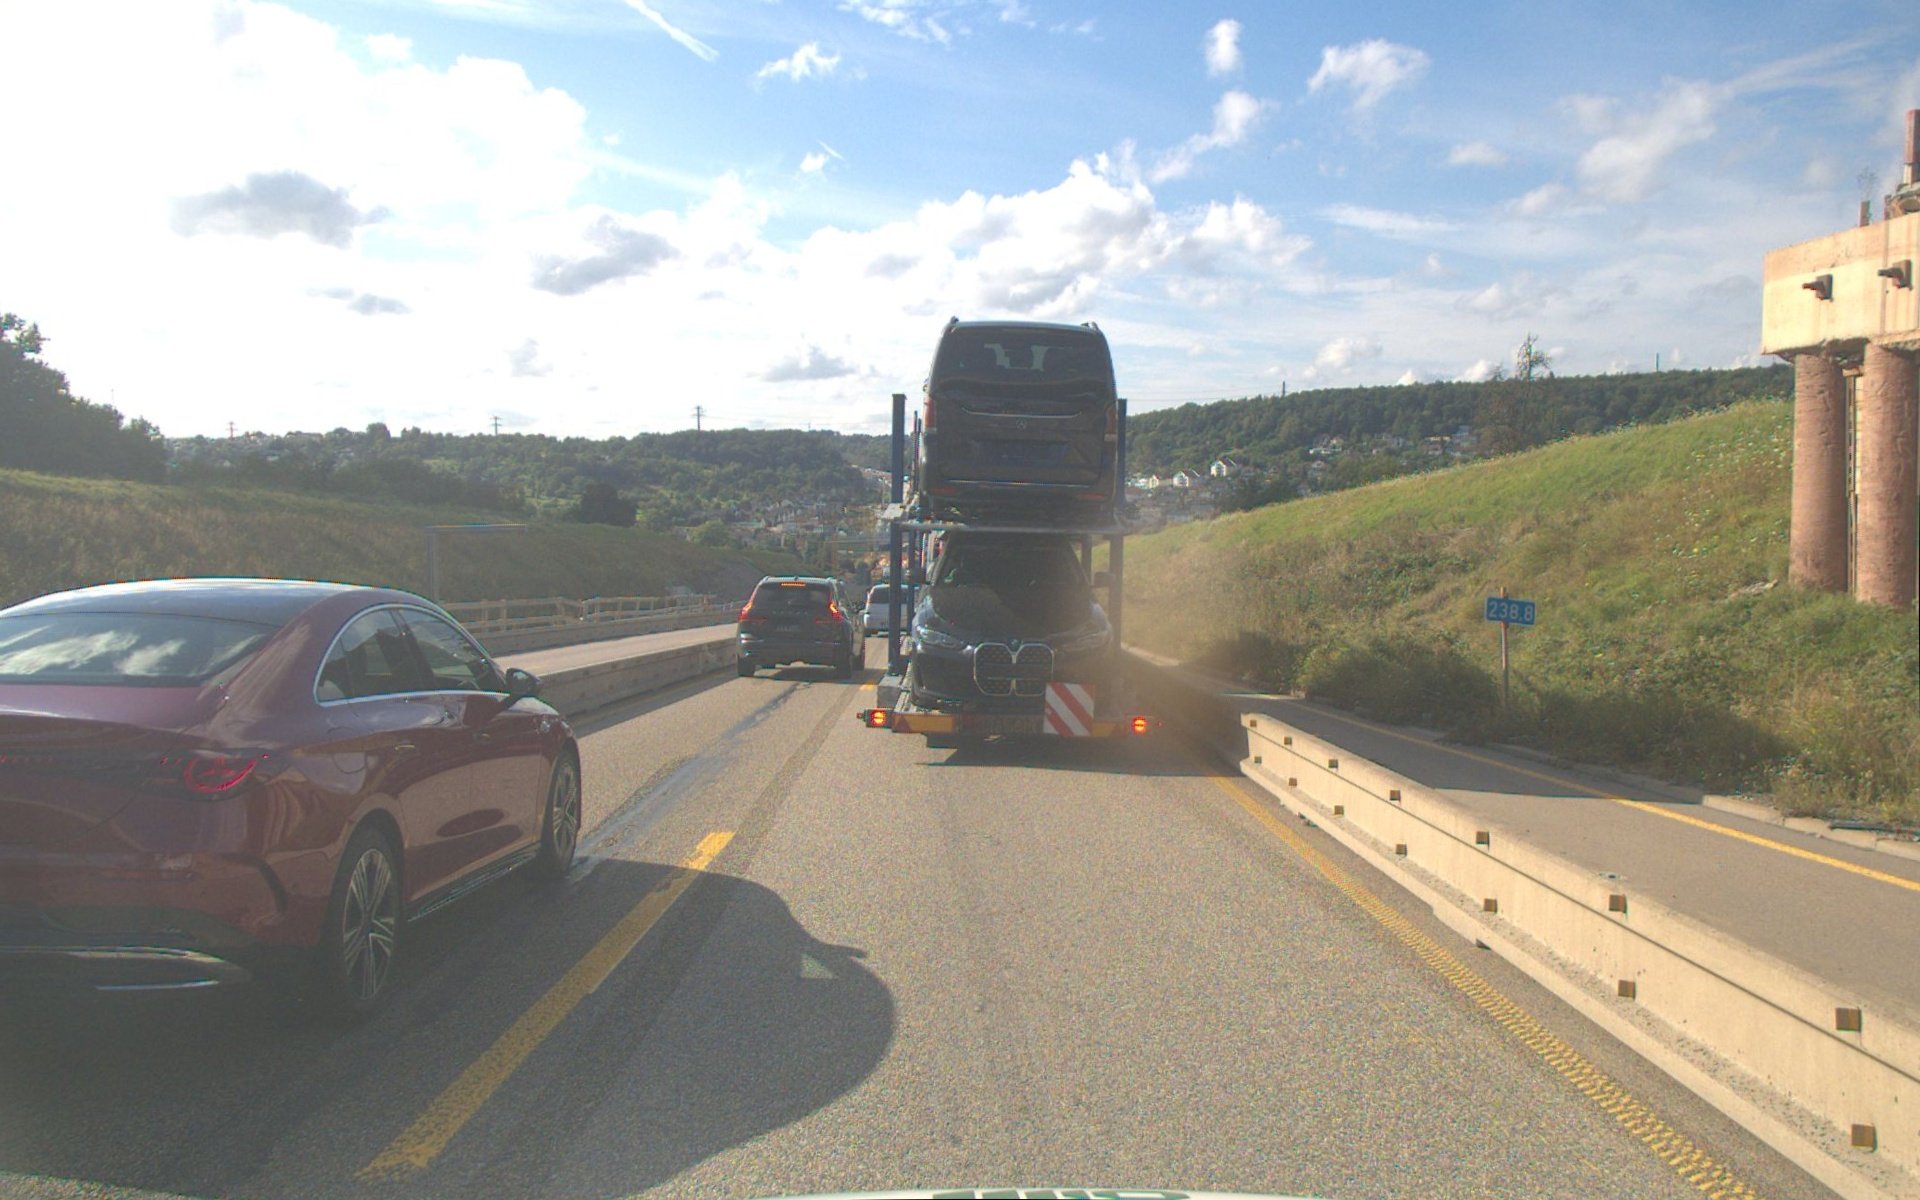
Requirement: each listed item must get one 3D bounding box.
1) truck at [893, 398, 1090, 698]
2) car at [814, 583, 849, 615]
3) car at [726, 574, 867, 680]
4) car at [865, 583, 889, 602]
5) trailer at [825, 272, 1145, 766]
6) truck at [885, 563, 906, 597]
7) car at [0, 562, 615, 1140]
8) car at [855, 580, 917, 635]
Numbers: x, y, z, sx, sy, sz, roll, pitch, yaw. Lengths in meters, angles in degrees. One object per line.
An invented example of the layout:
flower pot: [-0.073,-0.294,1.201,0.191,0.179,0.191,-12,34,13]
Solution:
truck: [0.490,-0.718,24.994,2.622,3.990,6.028,0,0,1]
car: [-7.340,-0.102,94.895,1.699,1.688,4.217,-3,1,-1]
car: [-2.710,0.388,28.497,1.953,1.653,4.750,1,1,0]
car: [-6.919,-0.604,138.273,1.698,1.450,4.627,-3,0,0]
trailer: [0.343,-0.722,19.440,2.652,4.099,11.422,0,0,1]
truck: [-8.119,-2.471,209.034,2.561,4.226,5.780,0,0,-1]
car: [-2.802,0.627,6.750,1.786,1.518,4.684,1,1,0]
car: [-2.266,0.208,51.853,1.759,1.624,4.742,1,0,0]
